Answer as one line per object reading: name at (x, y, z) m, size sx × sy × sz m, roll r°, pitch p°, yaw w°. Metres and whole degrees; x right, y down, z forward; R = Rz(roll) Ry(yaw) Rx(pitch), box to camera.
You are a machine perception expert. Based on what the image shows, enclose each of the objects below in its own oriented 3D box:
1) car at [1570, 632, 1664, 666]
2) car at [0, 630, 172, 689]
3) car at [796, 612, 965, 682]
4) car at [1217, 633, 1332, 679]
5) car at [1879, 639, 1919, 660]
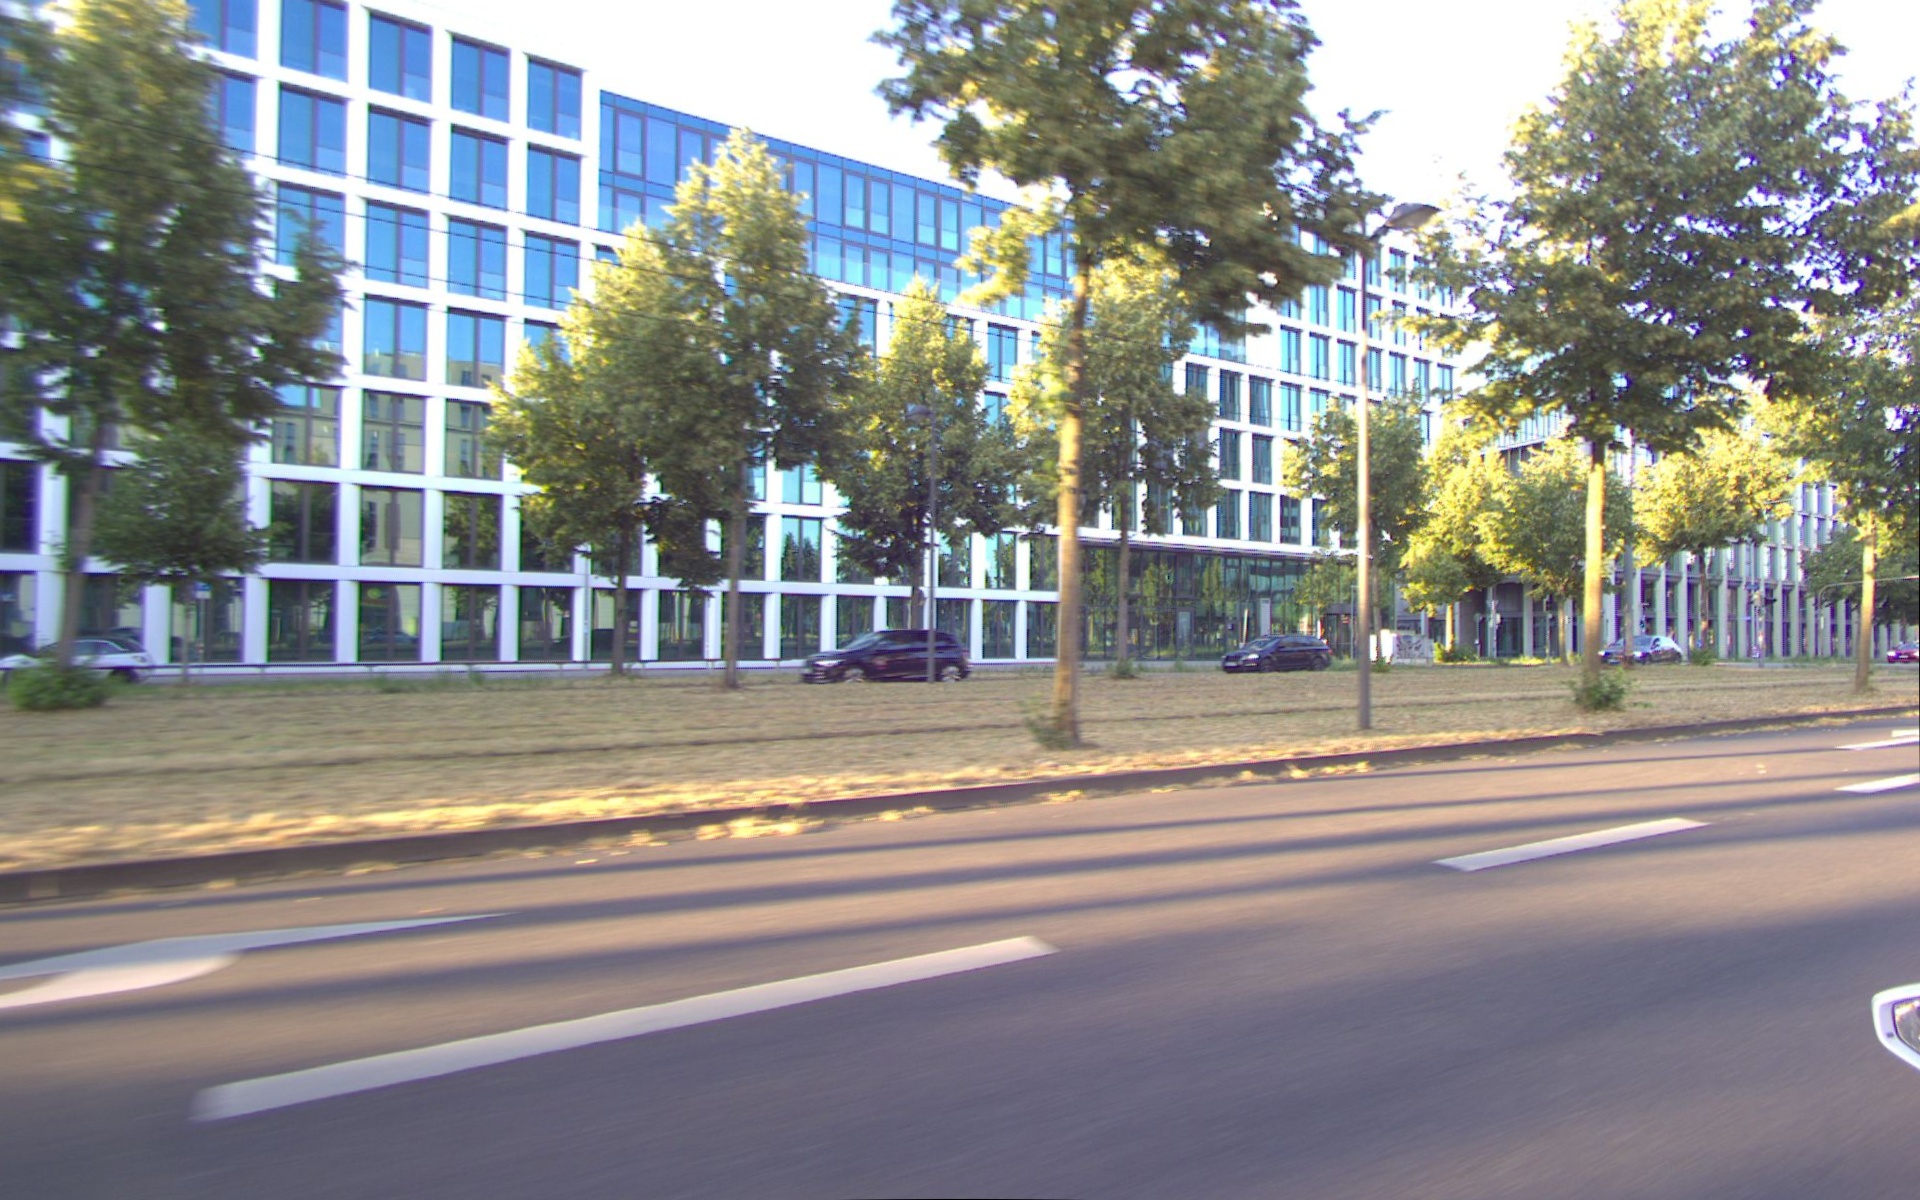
car at (28.044, 2.057, 42.815) m, size 4.534 × 1.350 × 1.648 m, roll 1°, pitch -2°, yaw -32°
car at (-25.508, 1.685, 29.246) m, size 3.739 × 1.602 × 1.851 m, roll 1°, pitch -2°, yaw -30°
car at (-1.902, 1.116, 24.360) m, size 3.686 × 1.568 × 1.792 m, roll 1°, pitch -2°, yaw -32°
car at (11.231, 1.961, 35.815) m, size 4.144 × 1.521 × 1.648 m, roll 1°, pitch -2°, yaw -32°
car at (63.120, 3.268, 66.922) m, size 4.478 × 1.350 × 1.648 m, roll 1°, pitch -2°, yaw -32°
